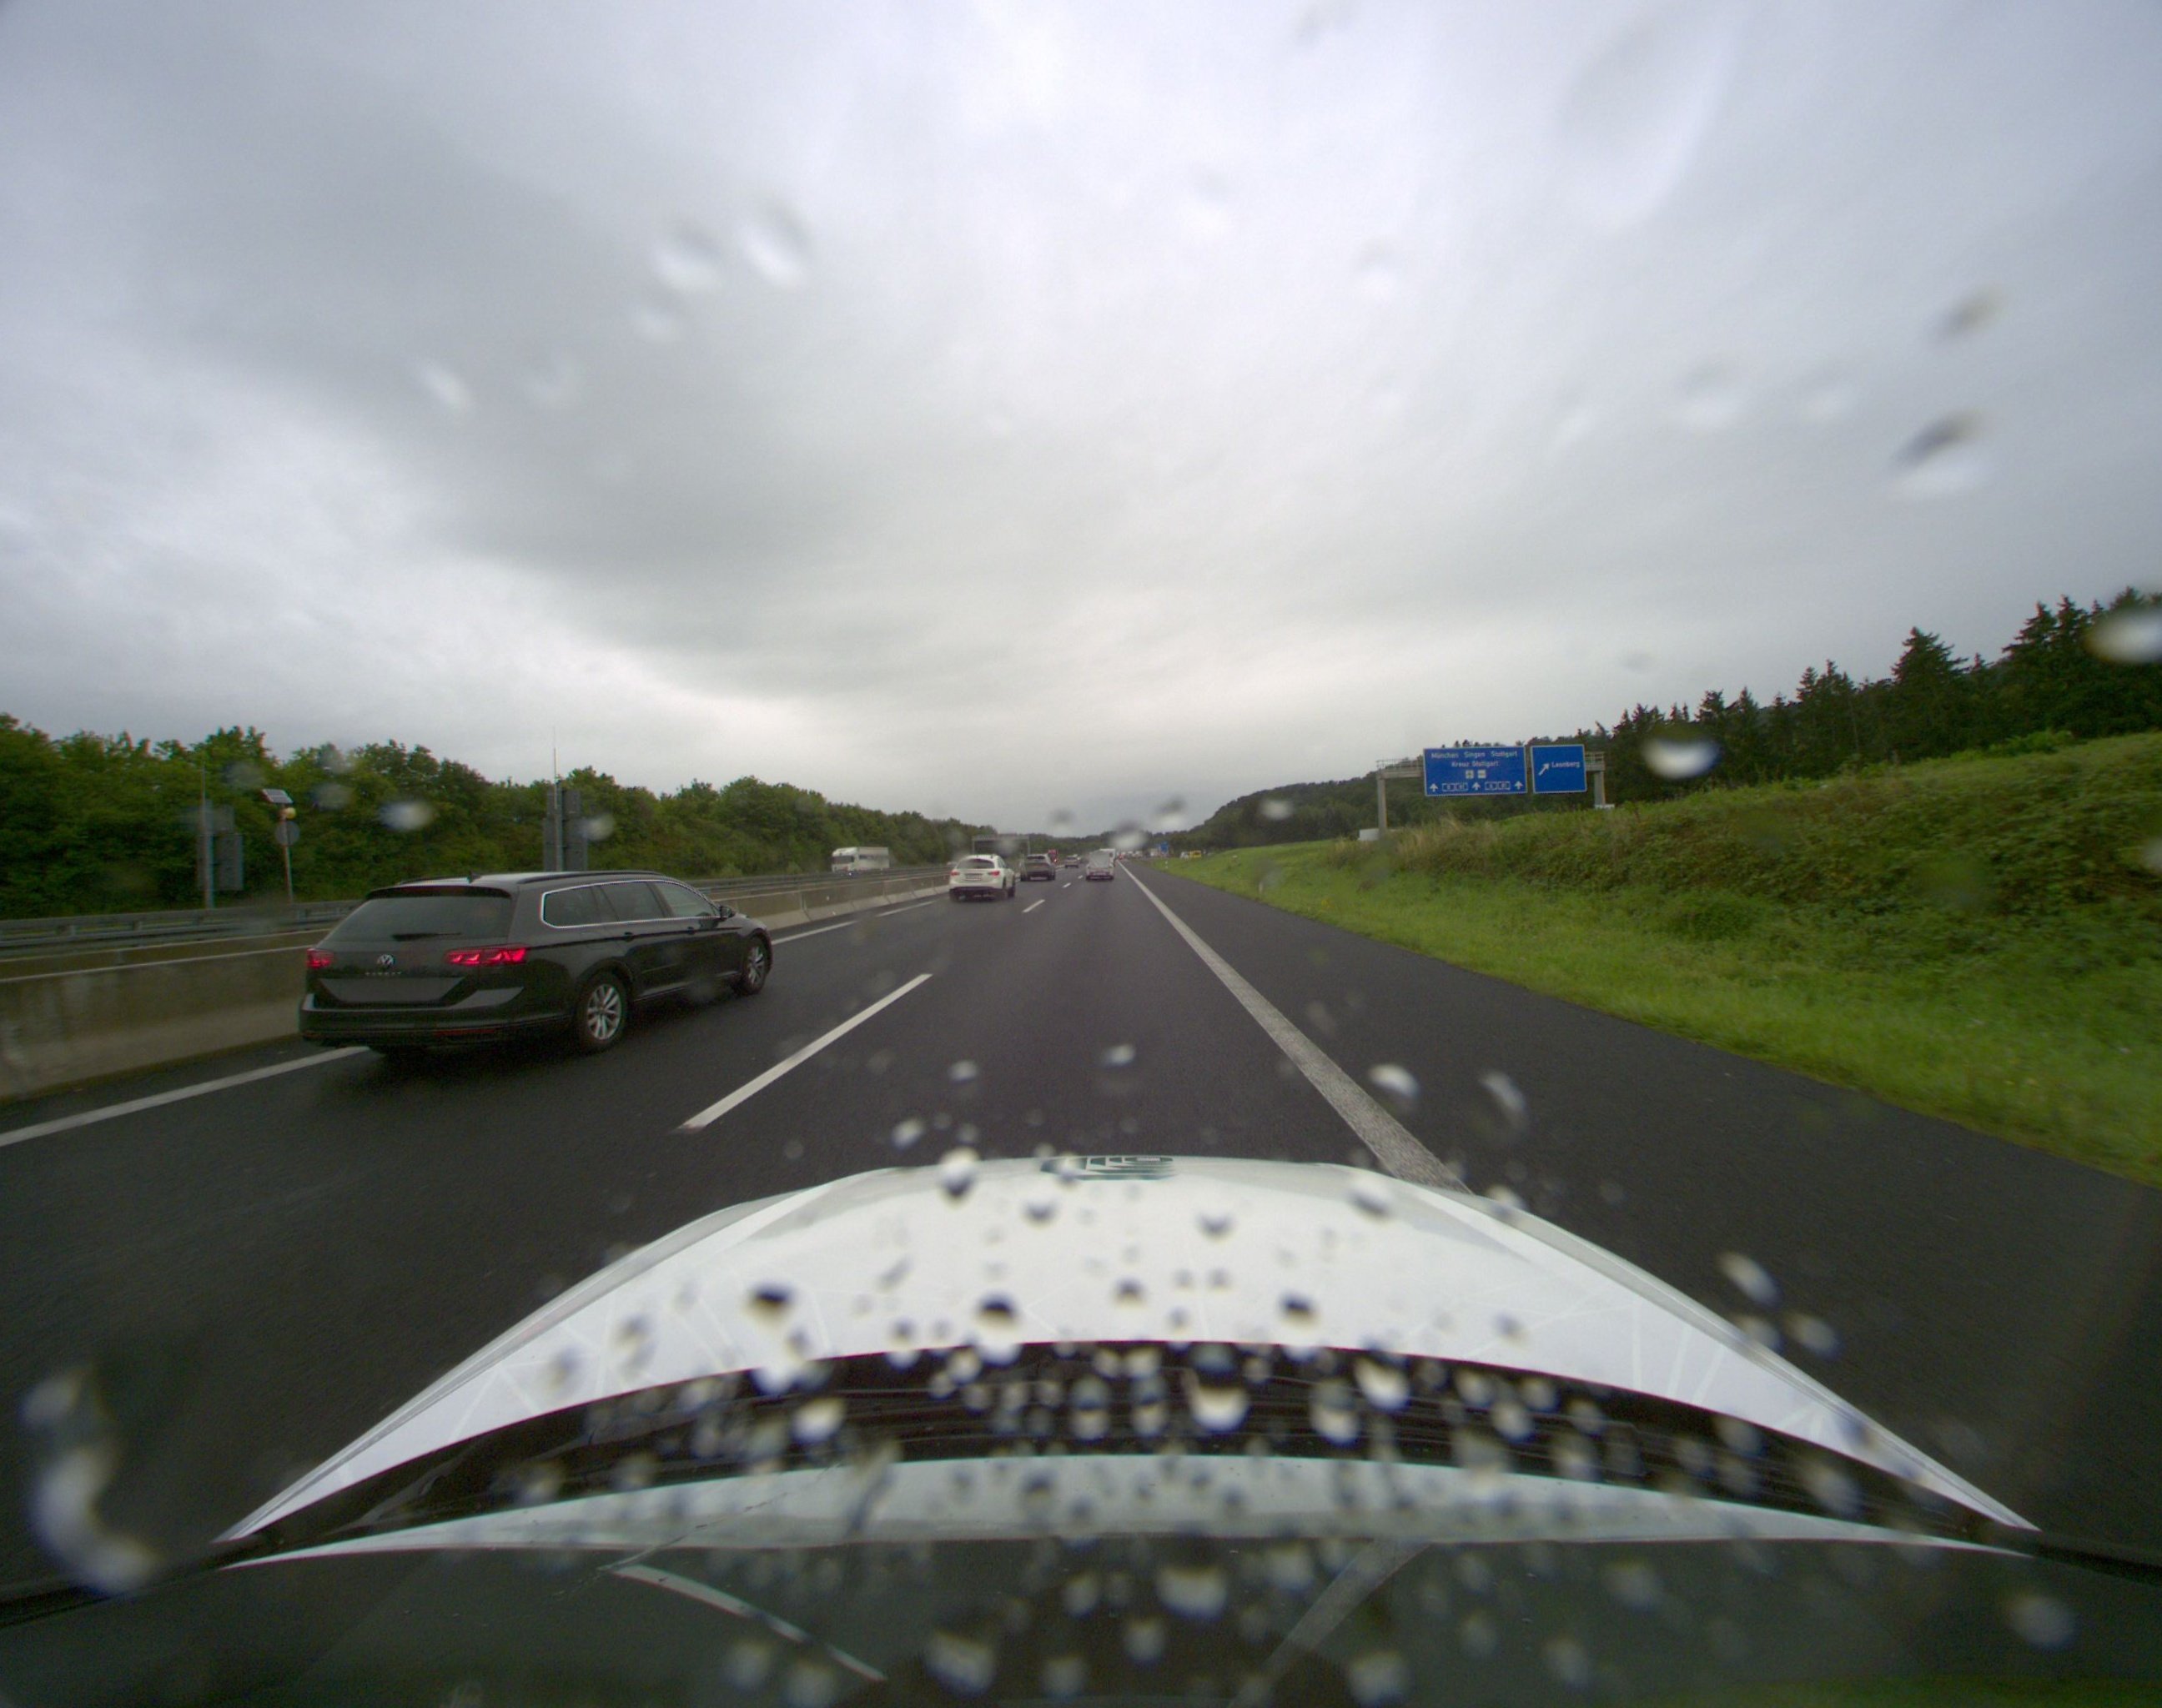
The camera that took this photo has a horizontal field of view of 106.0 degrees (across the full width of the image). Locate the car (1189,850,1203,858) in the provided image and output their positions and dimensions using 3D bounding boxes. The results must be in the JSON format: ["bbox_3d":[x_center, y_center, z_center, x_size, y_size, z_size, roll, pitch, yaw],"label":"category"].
[{"bbox_3d":[23.004,-0.045,162.655,1.989,1.552,3.995,0,0,-3],"label":"car"}]

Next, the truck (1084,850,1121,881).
[{"bbox_3d":[1.401,0.720,52.723,2.234,1.839,6.586,-1,0,1],"label":"truck"}]

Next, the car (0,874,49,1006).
[{"bbox_3d":[-12.564,0.953,6.887,1.848,1.391,4.449,-2,0,3],"label":"car"}]

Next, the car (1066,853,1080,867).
[{"bbox_3d":[-1.026,0.768,109.922,1.732,1.794,4.002,-1,0,2],"label":"car"}]

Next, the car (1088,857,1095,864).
[{"bbox_3d":[2.612,1.594,198.020,1.639,1.574,4.002,0,0,2],"label":"car"}]

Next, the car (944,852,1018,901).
[{"bbox_3d":[-3.577,0.774,30.041,2.041,1.670,4.542,-1,0,1],"label":"car"}]

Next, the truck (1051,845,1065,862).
[{"bbox_3d":[-6.651,-0.082,237.011,3.386,4.733,10.493,-1,0,3],"label":"truck"}]

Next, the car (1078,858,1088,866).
[{"bbox_3d":[0.432,1.487,157.509,1.639,1.574,4.002,0,0,2],"label":"car"}]

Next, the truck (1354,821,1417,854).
[{"bbox_3d":[35.862,-1.834,96.344,3.819,3.659,8.256,0,0,-5],"label":"truck"}]

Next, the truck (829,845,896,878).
[{"bbox_3d":[-28.055,0.889,106.017,3.165,3.808,17.146,-2,0,3],"label":"truck"}]

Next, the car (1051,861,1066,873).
[{"bbox_3d":[-3.151,1.808,115.169,1.812,1.662,4.019,-2,0,2],"label":"car"}]

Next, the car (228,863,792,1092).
[{"bbox_3d":[-4.657,0.852,7.803,1.779,1.459,4.807,-1,0,4],"label":"car"}]

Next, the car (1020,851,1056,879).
[{"bbox_3d":[-2.792,0.693,53.776,1.968,1.703,4.804,-1,0,2],"label":"car"}]

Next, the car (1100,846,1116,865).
[{"bbox_3d":[3.996,0.274,119.625,2.322,2.725,6.543,-1,0,2],"label":"car"}]
